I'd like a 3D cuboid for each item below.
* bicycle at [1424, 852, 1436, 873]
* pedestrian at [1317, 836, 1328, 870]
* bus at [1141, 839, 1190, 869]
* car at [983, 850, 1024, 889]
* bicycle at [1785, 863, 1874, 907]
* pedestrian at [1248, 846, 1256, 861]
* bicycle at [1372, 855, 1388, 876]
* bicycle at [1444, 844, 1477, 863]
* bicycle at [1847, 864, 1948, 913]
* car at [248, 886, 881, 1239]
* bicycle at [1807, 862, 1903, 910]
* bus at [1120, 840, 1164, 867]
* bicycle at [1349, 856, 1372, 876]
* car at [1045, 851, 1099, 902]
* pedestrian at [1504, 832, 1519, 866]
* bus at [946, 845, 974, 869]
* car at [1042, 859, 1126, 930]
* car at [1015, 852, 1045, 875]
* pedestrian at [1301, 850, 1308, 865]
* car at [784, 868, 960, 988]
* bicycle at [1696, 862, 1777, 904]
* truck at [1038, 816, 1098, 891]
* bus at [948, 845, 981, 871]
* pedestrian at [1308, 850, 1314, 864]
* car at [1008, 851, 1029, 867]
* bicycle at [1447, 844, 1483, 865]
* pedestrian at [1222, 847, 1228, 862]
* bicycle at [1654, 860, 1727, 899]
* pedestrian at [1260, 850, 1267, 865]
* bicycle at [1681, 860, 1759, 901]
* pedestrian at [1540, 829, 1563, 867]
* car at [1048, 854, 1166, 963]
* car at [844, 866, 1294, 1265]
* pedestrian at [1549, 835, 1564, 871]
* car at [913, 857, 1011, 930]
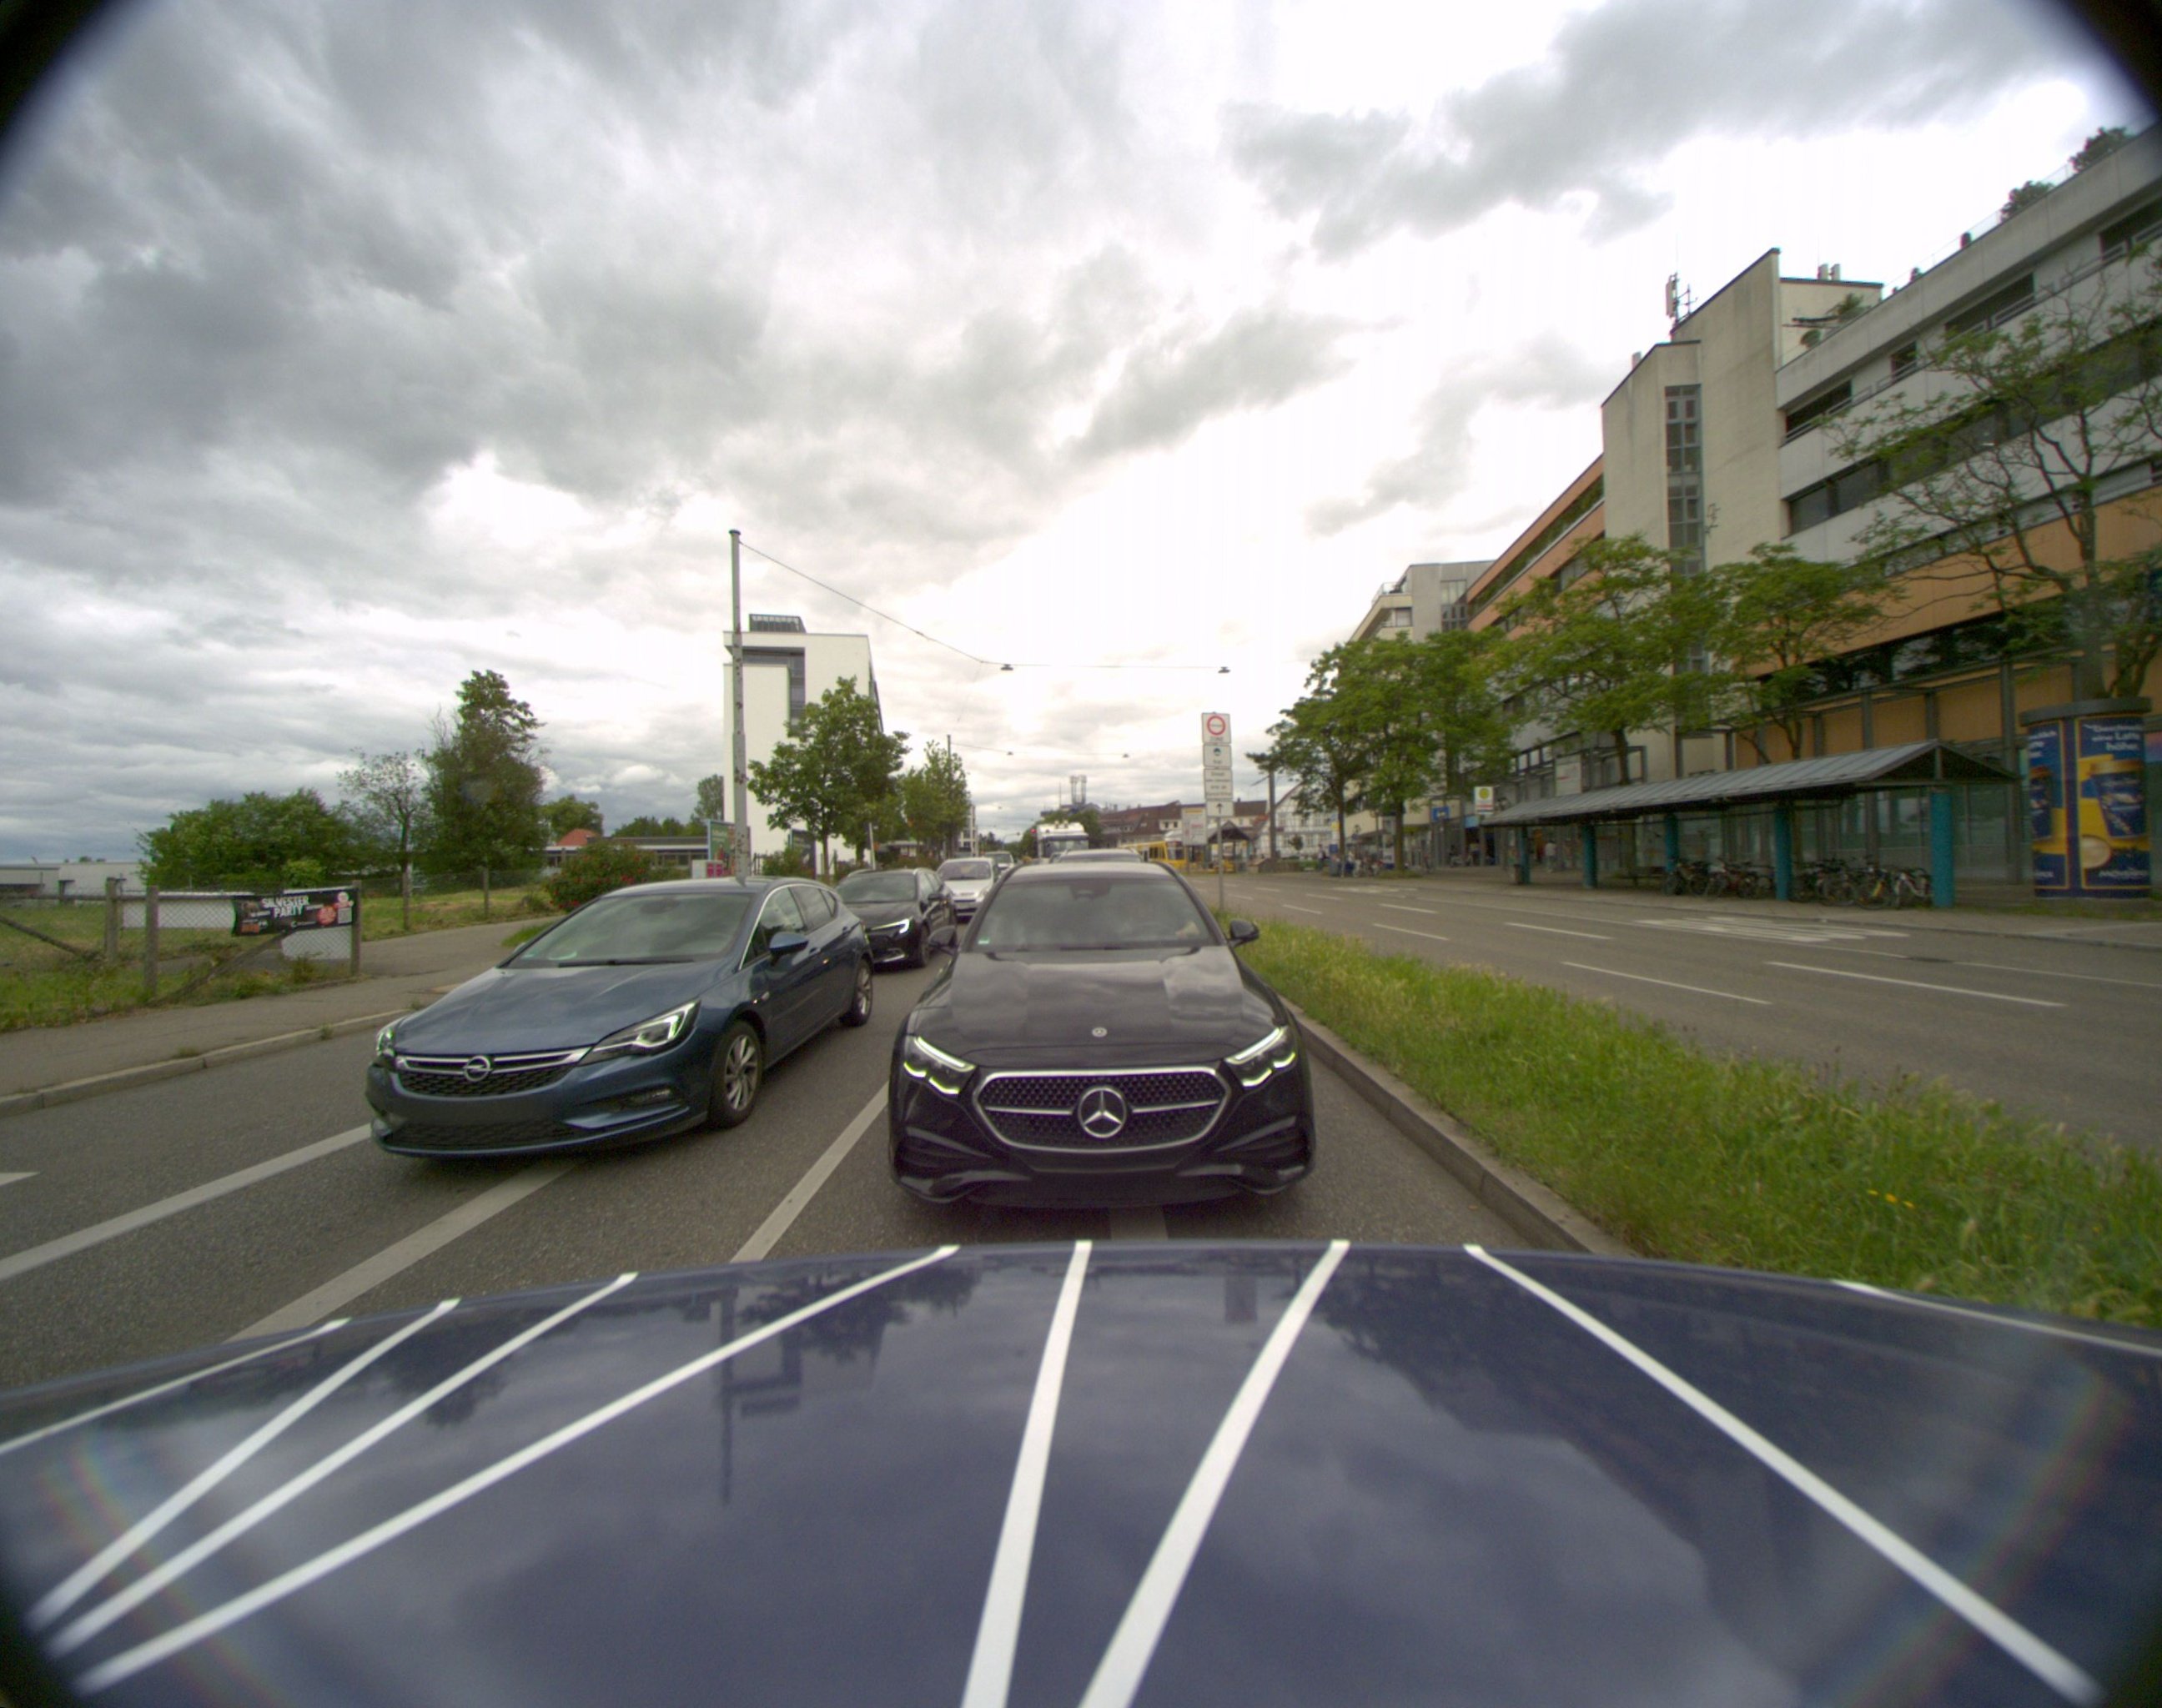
[{"bbox_3d":[19.477,0.467,42.389,0.593,1.119,2.040,0,1,24],"label":"bicycle"},{"bbox_3d":[16.821,-0.066,52.947,0.590,2.294,0.608,-1,1,-2],"label":"pedestrian"},{"bbox_3d":[8.686,0.000,79.017,2.556,2.966,8.498,-1,0,-11],"label":"bus"},{"bbox_3d":[-4.027,0.763,40.079,1.852,1.875,4.135,-3,0,-2],"label":"car"},{"bbox_3d":[19.019,0.775,19.312,1.735,1.035,0.549,-2,1,-2],"label":"bicycle"},{"bbox_3d":[22.321,-0.049,98.963,0.879,2.002,1.010,-1,1,6],"label":"pedestrian"},{"bbox_3d":[16.393,0.621,41.649,0.593,1.071,2.041,0,1,29],"label":"bicycle"},{"bbox_3d":[27.746,-0.029,55.556,2.138,1.358,0.620,-2,1,26],"label":"bicycle"},{"bbox_3d":[18.679,0.785,17.402,1.735,1.035,0.549,-2,1,-2],"label":"bicycle"},{"bbox_3d":[-2.919,1.051,5.529,1.826,1.402,4.000,-2,0,0],"label":"car"},{"bbox_3d":[18.619,0.753,18.287,1.735,1.035,0.549,-3,1,-2],"label":"bicycle"},{"bbox_3d":[6.921,-0.056,87.953,2.556,2.966,9.790,-1,0,-11],"label":"bus"},{"bbox_3d":[15.470,0.653,42.021,0.593,1.071,2.041,0,1,38],"label":"bicycle"},{"bbox_3d":[-0.391,0.793,28.798,1.865,1.773,3.999,-1,0,-2],"label":"car"},{"bbox_3d":[25.475,-0.315,45.013,0.566,2.002,0.611,-1,1,6],"label":"pedestrian"},{"bbox_3d":[-15.237,0.340,95.050,2.969,2.616,12.911,-2,1,-11],"label":"bus"},{"bbox_3d":[0.038,0.911,18.911,1.865,1.520,3.999,-1,0,-1],"label":"car"},{"bbox_3d":[-4.105,0.741,60.241,2.000,1.674,3.997,-4,1,-8],"label":"car"},{"bbox_3d":[23.325,0.368,79.324,0.555,1.485,0.454,-1,1,8],"label":"pedestrian"},{"bbox_3d":[-3.080,1.022,12.022,1.665,1.448,3.921,-2,0,0],"label":"car"},{"bbox_3d":[17.941,0.791,20.814,1.735,1.035,0.549,-3,1,-2],"label":"bicycle"},{"bbox_3d":[-0.775,-0.044,36.726,2.490,3.258,7.428,-1,0,-4],"label":"truck"},{"bbox_3d":[-12.830,0.386,82.727,2.969,2.616,12.137,-2,1,-11],"label":"bus"},{"bbox_3d":[23.997,0.303,79.164,0.555,1.485,0.454,-1,1,8],"label":"pedestrian"},{"bbox_3d":[-7.059,0.569,85.352,2.000,1.674,3.997,-4,1,-8],"label":"car"},{"bbox_3d":[26.984,0.029,53.405,2.139,1.367,0.620,-2,1,18],"label":"bicycle"},{"bbox_3d":[20.519,0.054,108.237,0.742,2.002,0.939,-1,1,11],"label":"pedestrian"},{"bbox_3d":[18.198,0.748,22.707,1.735,1.035,0.549,-3,1,-2],"label":"bicycle"},{"bbox_3d":[19.264,0.360,80.149,0.577,1.533,0.583,-1,1,-8],"label":"pedestrian"},{"bbox_3d":[18.277,0.744,21.747,1.735,1.035,0.549,-4,1,-2],"label":"bicycle"},{"bbox_3d":[25.266,-0.315,40.817,0.710,2.002,0.794,-2,1,0],"label":"pedestrian"},{"bbox_3d":[0.386,0.821,13.484,1.734,1.601,4.000,-2,0,0],"label":"car"},{"bbox_3d":[-0.058,0.886,5.192,1.793,1.507,4.249,-1,0,0],"label":"car"},{"bbox_3d":[24.090,-0.049,38.493,0.648,1.799,0.761,0,1,34],"label":"pedestrian"},{"bbox_3d":[-2.970,0.942,19.793,1.851,1.606,3.783,-3,0,0],"label":"car"}]
